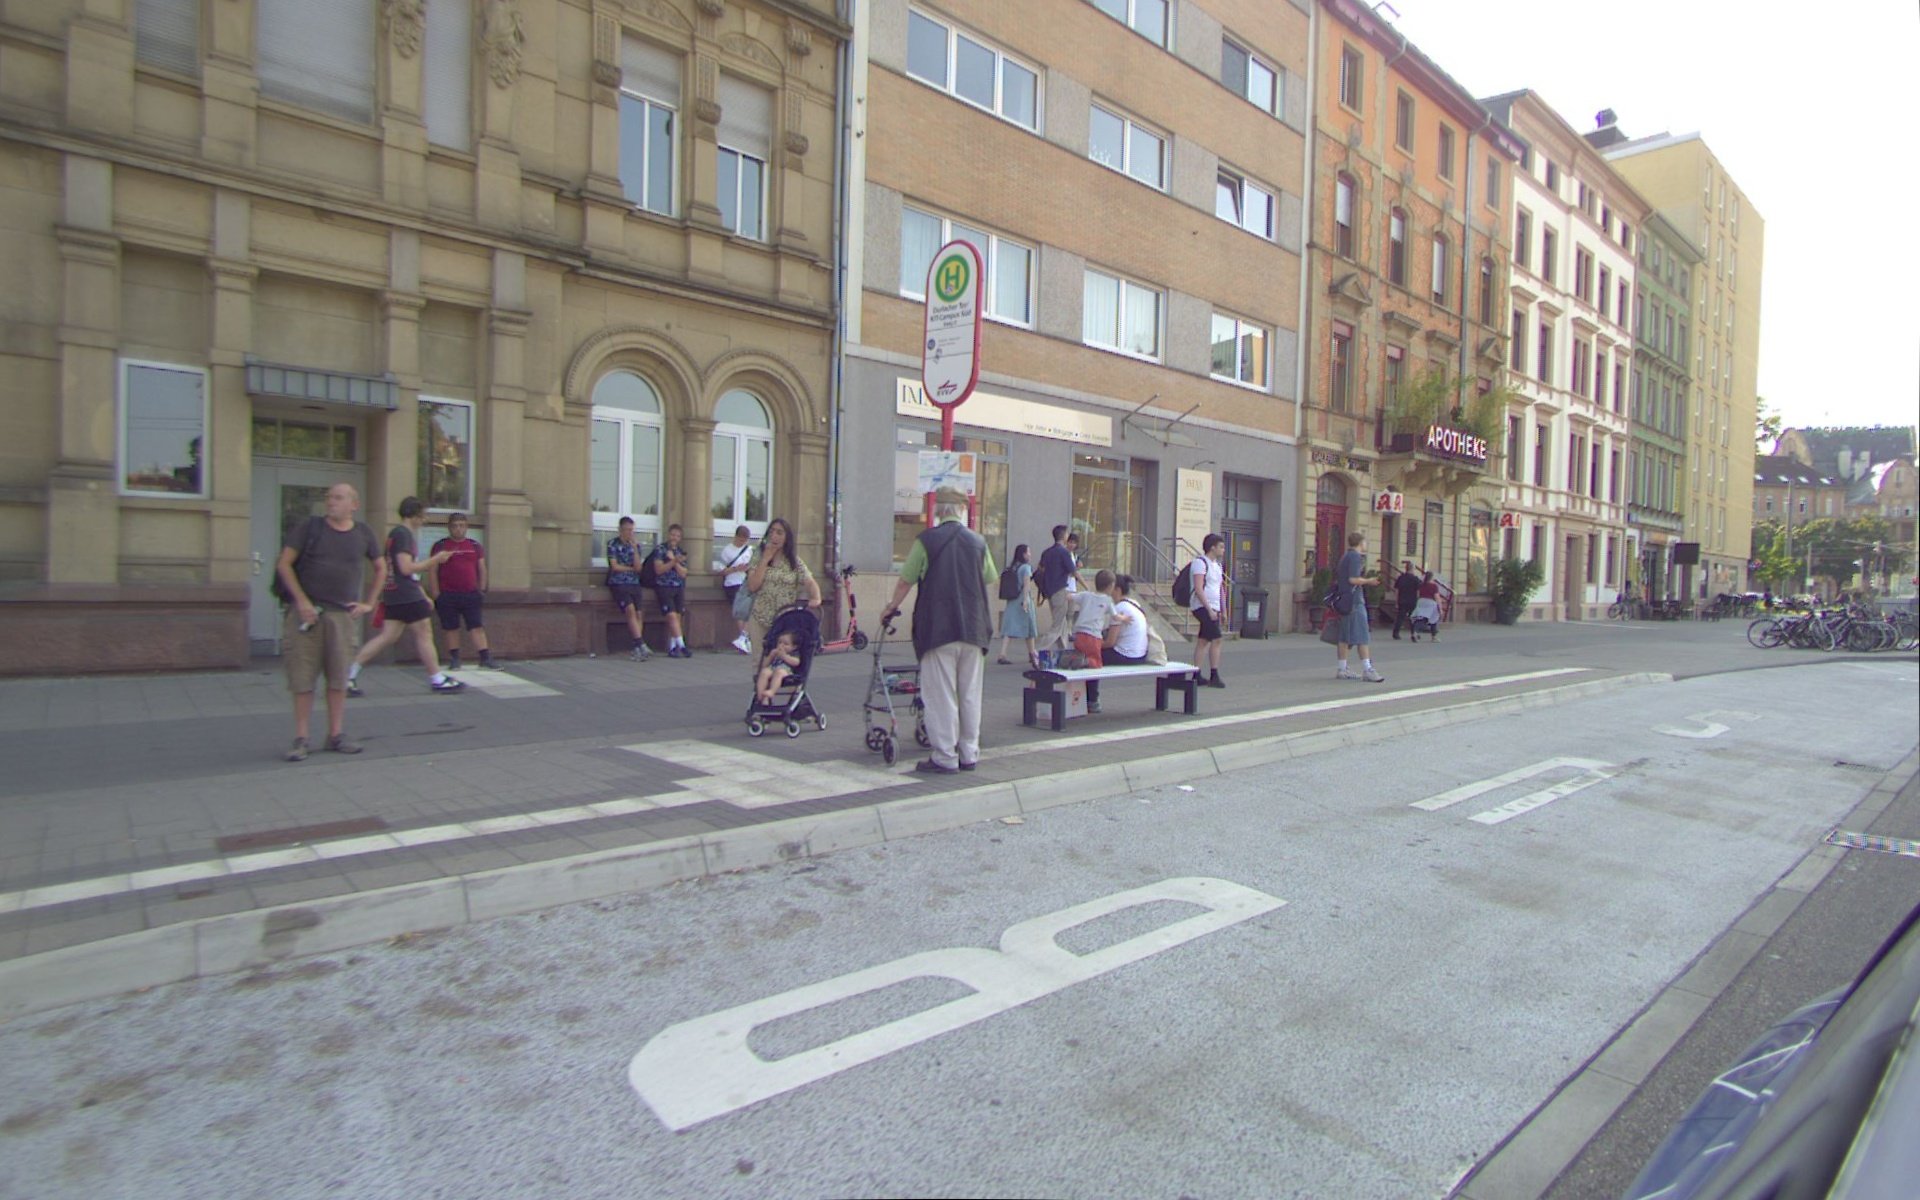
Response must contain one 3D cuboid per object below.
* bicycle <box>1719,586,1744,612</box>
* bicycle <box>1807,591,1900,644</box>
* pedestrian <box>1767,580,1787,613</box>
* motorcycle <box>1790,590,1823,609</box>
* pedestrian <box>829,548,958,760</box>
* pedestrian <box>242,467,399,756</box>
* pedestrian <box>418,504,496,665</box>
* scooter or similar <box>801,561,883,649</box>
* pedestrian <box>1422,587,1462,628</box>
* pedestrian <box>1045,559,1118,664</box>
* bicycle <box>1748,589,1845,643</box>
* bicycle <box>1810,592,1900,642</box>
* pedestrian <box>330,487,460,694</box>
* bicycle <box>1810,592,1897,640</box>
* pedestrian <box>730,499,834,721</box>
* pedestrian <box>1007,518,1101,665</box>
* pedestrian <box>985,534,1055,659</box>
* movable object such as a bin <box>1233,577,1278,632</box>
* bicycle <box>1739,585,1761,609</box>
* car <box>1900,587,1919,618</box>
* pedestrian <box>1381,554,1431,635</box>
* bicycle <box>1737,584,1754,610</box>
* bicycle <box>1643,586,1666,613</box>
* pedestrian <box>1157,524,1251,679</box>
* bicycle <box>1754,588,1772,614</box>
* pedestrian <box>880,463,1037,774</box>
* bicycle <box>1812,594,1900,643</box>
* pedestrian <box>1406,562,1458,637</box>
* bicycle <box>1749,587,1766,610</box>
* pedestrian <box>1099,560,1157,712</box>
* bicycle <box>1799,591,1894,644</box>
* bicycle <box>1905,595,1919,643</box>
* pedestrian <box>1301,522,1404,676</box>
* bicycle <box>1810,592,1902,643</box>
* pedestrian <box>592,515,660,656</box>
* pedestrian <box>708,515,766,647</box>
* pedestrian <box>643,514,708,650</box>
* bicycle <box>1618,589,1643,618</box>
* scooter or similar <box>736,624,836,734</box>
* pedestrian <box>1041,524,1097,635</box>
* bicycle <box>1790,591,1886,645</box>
[{"bbox_3d":[38.678,-0.048,50.700,1.963,1.276,0.603,0,2,-42],"label":"bicycle"},{"bbox_3d":[21.416,0.407,24.277,1.634,1.163,0.379,3,2,45],"label":"bicycle"},{"bbox_3d":[40.602,-0.177,50.299,0.724,1.649,0.610,0,2,-41],"label":"pedestrian"},{"bbox_3d":[54.682,-0.019,65.388,2.253,1.161,0.707,1,2,-25],"label":"motorcycle"},{"bbox_3d":[-0.433,0.319,6.598,0.565,1.293,0.587,3,2,45],"label":"pedestrian"},{"bbox_3d":[-4.127,0.063,6.548,0.792,1.754,0.341,0,2,-45],"label":"pedestrian"},{"bbox_3d":[-5.440,-0.171,10.939,0.577,1.675,0.604,0,2,-44],"label":"pedestrian"},{"bbox_3d":[-1.631,0.067,14.124,1.133,1.177,0.360,0,2,-44],"label":"scooter or similar"},{"bbox_3d":[12.048,0.182,25.316,0.623,0.994,0.615,1,2,-21],"label":"pedestrian"},{"bbox_3d":[1.012,0.084,8.381,0.303,0.830,0.595,2,2,41],"label":"pedestrian"},{"bbox_3d":[19.505,0.354,23.630,0.591,1.163,1.637,0,2,-39],"label":"bicycle"},{"bbox_3d":[22.418,0.412,25.364,1.634,1.163,0.379,3,2,45],"label":"bicycle"},{"bbox_3d":[-5.064,-0.091,9.070,0.882,1.746,0.702,0,2,-41],"label":"pedestrian"},{"bbox_3d":[23.250,0.395,26.352,1.634,1.163,0.379,3,2,45],"label":"bicycle"},{"bbox_3d":[-1.472,0.071,8.382,0.607,1.750,0.565,0,2,-44],"label":"pedestrian"},{"bbox_3d":[1.226,-0.119,13.131,1.052,1.826,0.618,0,2,-40],"label":"pedestrian"},{"bbox_3d":[0.816,-0.057,13.651,0.798,1.630,0.487,0,2,-40],"label":"pedestrian"},{"bbox_3d":[6.144,0.088,21.028,0.733,1.094,0.662,2,2,32],"label":"movable object such as a bin"},{"bbox_3d":[42.340,-0.157,54.211,1.817,1.276,0.603,0,2,-42],"label":"bicycle"},{"bbox_3d":[47.691,0.171,47.938,4.334,1.441,1.844,1,2,8],"label":"car"},{"bbox_3d":[10.194,-0.130,23.136,0.841,1.809,0.721,0,2,-40],"label":"pedestrian"},{"bbox_3d":[40.734,-0.169,52.475,0.602,1.276,1.968,3,2,40],"label":"bicycle"},{"bbox_3d":[29.736,-0.029,43.324,1.689,1.148,0.384,0,2,-41],"label":"bicycle"},{"bbox_3d":[2.896,0.003,12.013,0.788,1.750,0.750,0,2,-44],"label":"pedestrian"},{"bbox_3d":[41.402,0.028,52.183,0.602,1.276,1.968,3,2,40],"label":"bicycle"},{"bbox_3d":[-0.004,0.093,6.150,0.733,1.750,0.565,0,2,-45],"label":"pedestrian"},{"bbox_3d":[22.938,0.447,25.938,1.634,1.163,0.379,3,2,45],"label":"bicycle"},{"bbox_3d":[10.481,-0.027,22.479,0.841,1.630,0.721,0,2,-40],"label":"pedestrian"},{"bbox_3d":[44.445,-0.095,56.402,1.609,1.276,0.469,0,2,-42],"label":"bicycle"},{"bbox_3d":[1.472,0.300,8.835,0.275,1.290,0.441,2,2,42],"label":"pedestrian"},{"bbox_3d":[20.966,0.396,23.959,1.634,1.163,0.379,3,2,45],"label":"bicycle"},{"bbox_3d":[24.135,0.469,25.509,0.407,1.163,1.631,3,2,42],"label":"bicycle"},{"bbox_3d":[4.940,-0.034,12.751,0.788,1.854,0.926,0,2,-44],"label":"pedestrian"},{"bbox_3d":[21.937,0.414,24.799,1.634,1.163,0.379,3,2,45],"label":"bicycle"},{"bbox_3d":[-4.192,-0.192,12.693,0.577,1.713,0.604,0,2,-44],"label":"pedestrian"},{"bbox_3d":[-3.036,-0.262,13.797,0.502,1.753,0.604,0,2,-44],"label":"pedestrian"},{"bbox_3d":[-3.701,-0.234,13.166,0.577,1.713,0.604,0,2,-44],"label":"pedestrian"},{"bbox_3d":[27.287,0.133,41.157,1.689,1.148,0.384,0,2,-41],"label":"bicycle"},{"bbox_3d":[-1.325,0.582,7.693,0.506,0.750,0.565,0,2,-44],"label":"scooter or similar"},{"bbox_3d":[1.872,-0.350,17.379,0.730,1.854,0.604,0,2,-44],"label":"pedestrian"},{"bbox_3d":[20.341,0.405,23.471,1.634,1.163,0.379,3,2,45],"label":"bicycle"}]
